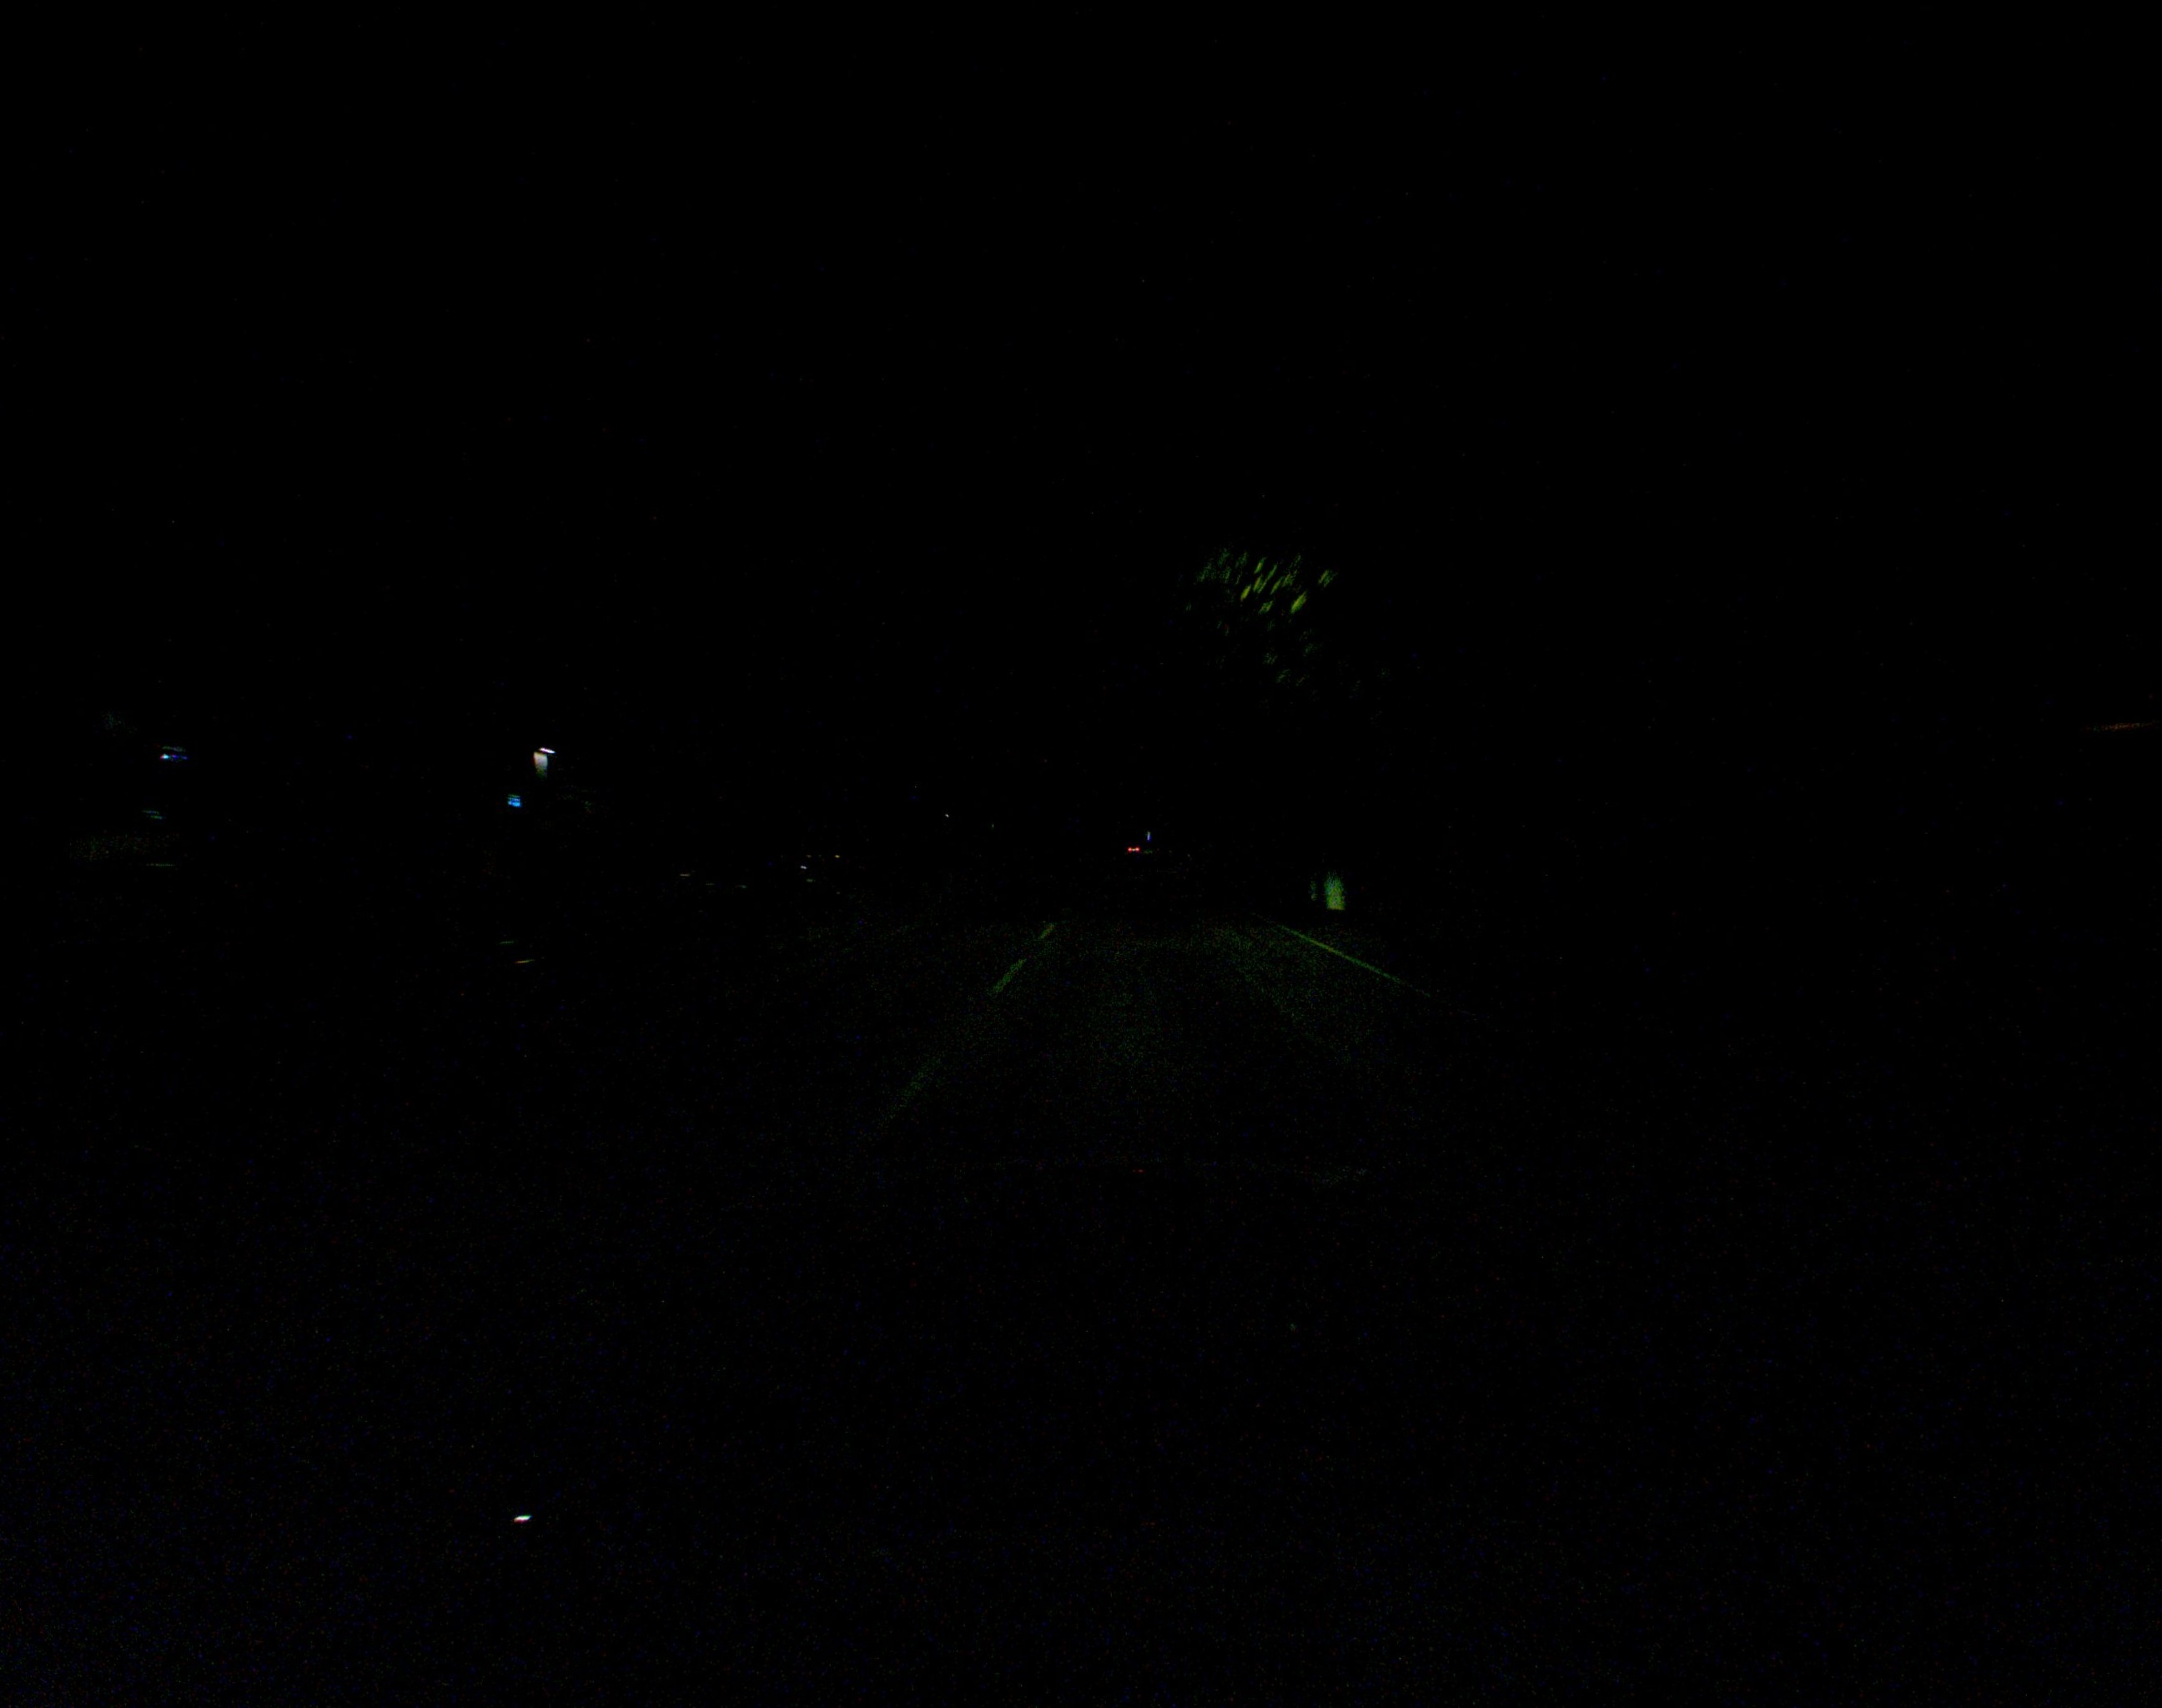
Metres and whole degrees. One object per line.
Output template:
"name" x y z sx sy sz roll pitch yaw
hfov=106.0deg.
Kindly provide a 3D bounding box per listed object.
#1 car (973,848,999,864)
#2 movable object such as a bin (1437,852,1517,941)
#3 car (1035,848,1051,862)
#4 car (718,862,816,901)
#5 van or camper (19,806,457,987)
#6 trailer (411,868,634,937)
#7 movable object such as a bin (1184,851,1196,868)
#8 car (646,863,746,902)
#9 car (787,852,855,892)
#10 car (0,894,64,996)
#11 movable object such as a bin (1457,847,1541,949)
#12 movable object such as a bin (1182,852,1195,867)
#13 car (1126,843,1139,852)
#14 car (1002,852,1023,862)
"car" -10.544 0.222 90.734 1.985 1.628 4.681 -2 0 3
"movable object such as a bin" 5.287 0.546 10.926 0.718 1.121 0.896 -2 0 10
"car" -6.597 0.162 140.928 2.083 2.013 4.003 -6 0 3
"car" -13.906 1.159 36.421 1.892 1.522 5.180 -2 0 6
"van or camper" -15.228 0.648 15.457 2.266 2.647 5.662 -4 0 -1
"trailer" -15.012 1.246 22.320 2.406 1.374 4.665 -6 0 8
"movable object such as a bin" 7.989 0.395 59.751 0.829 1.181 0.830 -2 0 6
"car" -14.561 1.060 30.936 3.020 1.326 1.533 -2 0 -2
"car" -13.450 0.869 42.494 1.851 1.904 4.880 -2 0 1
"car" -15.399 1.331 9.292 1.639 1.339 4.546 -6 0 3
"movable object such as a bin" 5.162 0.527 10.105 0.719 1.200 0.722 -2 0 10
"movable object such as a bin" 8.004 0.405 60.628 0.853 1.119 0.842 -2 0 6
"car" 9.149 -1.104 145.712 2.154 1.583 4.013 -1 0 0
"car" -9.267 0.375 110.458 1.985 1.338 5.436 -2 0 3
